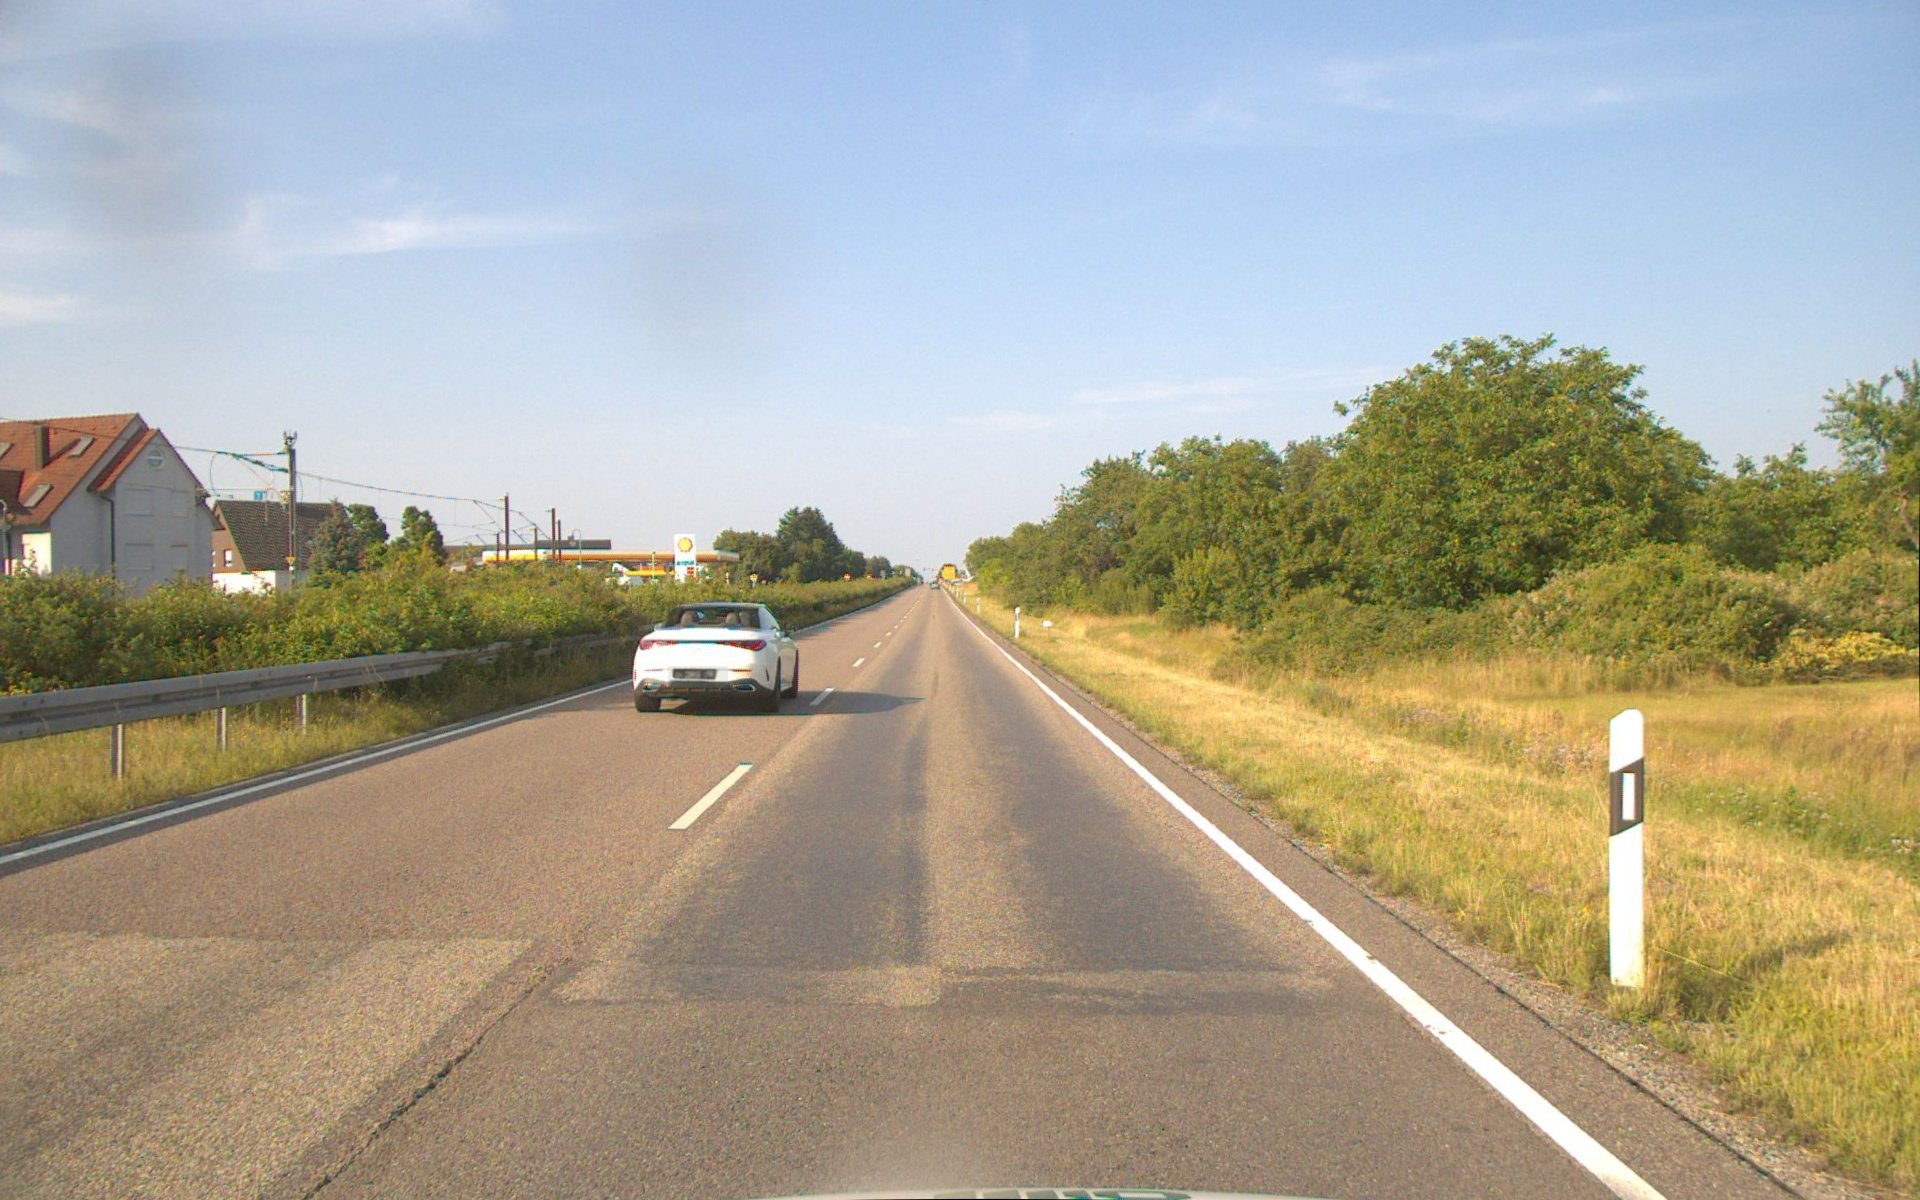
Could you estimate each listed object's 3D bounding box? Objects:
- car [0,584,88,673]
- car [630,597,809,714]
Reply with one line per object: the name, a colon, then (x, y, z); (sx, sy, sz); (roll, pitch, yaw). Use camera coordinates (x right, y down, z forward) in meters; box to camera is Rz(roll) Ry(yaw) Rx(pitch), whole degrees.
car: (-20.333, 0.565, 34.729); (1.953, 1.780, 3.999); (1, 0, -1)
car: (-3.120, 0.667, 22.404); (1.735, 1.361, 4.949); (1, 0, -1)
